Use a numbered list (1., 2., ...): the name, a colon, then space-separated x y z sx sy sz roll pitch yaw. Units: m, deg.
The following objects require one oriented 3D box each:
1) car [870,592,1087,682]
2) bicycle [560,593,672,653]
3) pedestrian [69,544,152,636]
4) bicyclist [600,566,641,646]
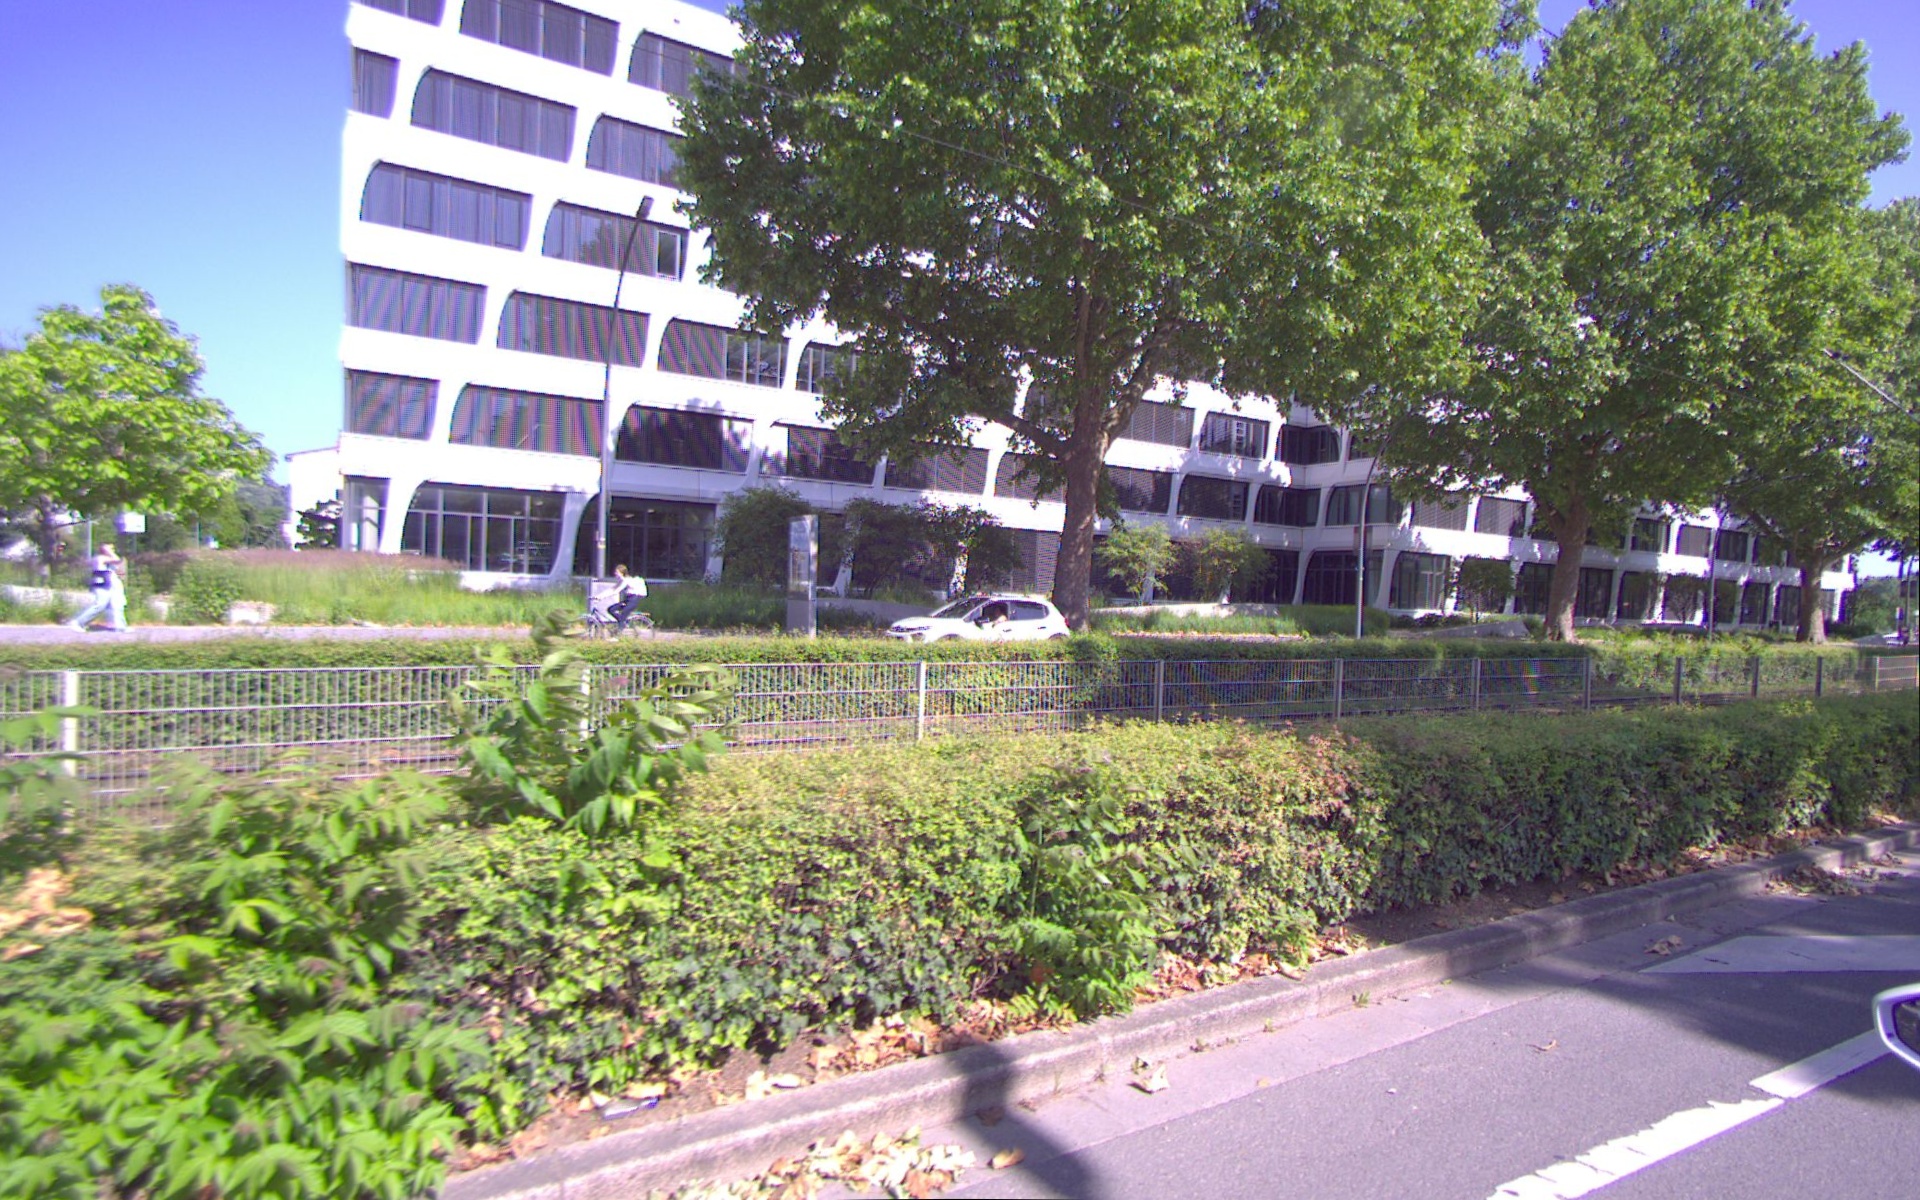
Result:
1. car: 0.390 0.716 20.026 3.972 1.591 1.748 2 1 -31
2. bicycle: -6.881 0.461 20.110 2.007 1.139 0.661 2 1 -30
3. pedestrian: -15.356 -0.180 18.188 1.003 1.609 0.716 2 1 -30
4. bicyclist: -6.815 0.117 20.153 0.633 1.555 0.651 1 1 -30
